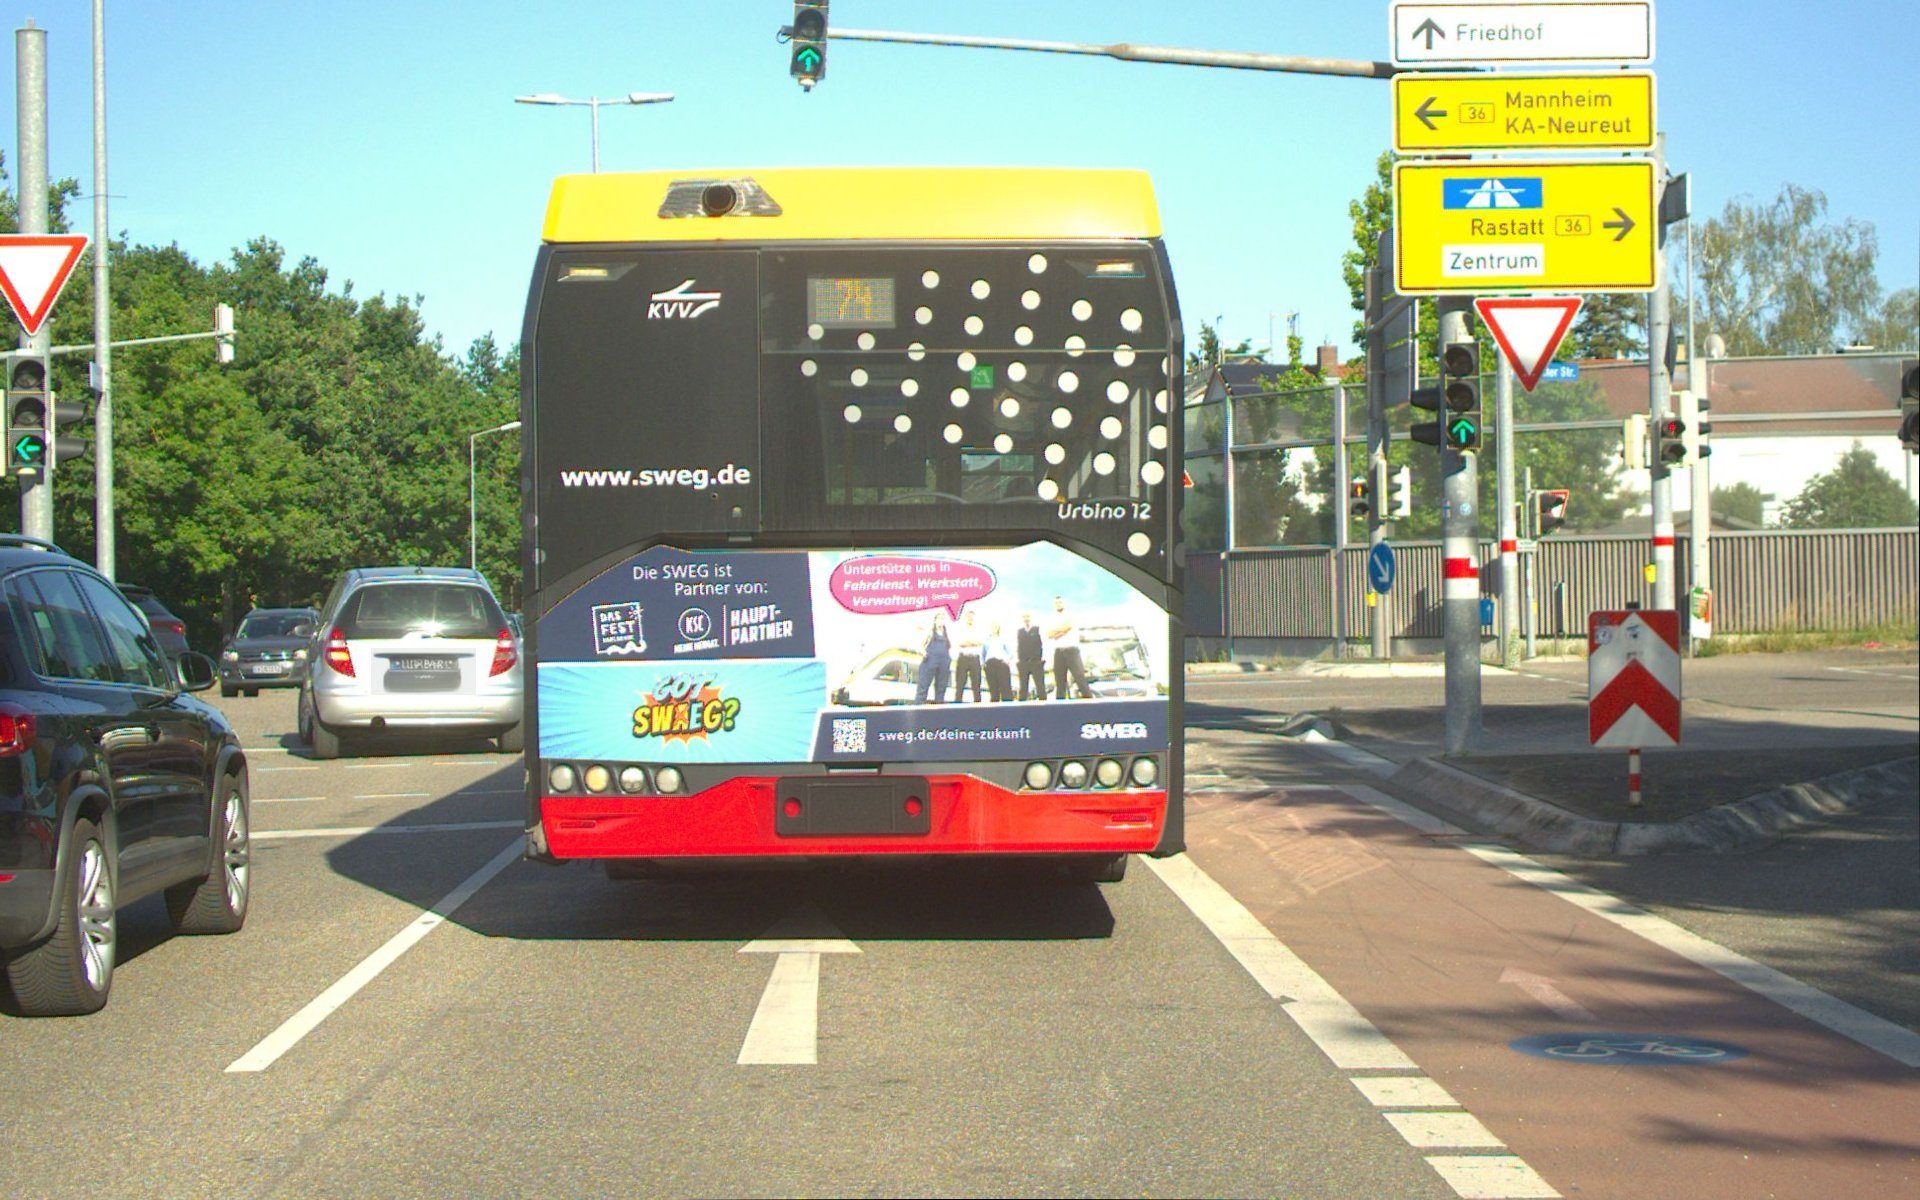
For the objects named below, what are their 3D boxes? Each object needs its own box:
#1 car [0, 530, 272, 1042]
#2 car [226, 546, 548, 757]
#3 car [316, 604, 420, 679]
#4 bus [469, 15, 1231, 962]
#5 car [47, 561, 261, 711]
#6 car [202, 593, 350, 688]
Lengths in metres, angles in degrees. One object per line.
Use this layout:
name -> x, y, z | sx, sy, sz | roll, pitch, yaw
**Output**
car -> -3.879, 0.582, 12.882 | 1.827, 1.622, 4.000 | -1, 0, -1
car -> -5.091, 0.378, 30.062 | 2.040, 1.610, 4.419 | -2, 2, -19
car -> -12.190, 0.844, 70.949 | 1.645, 1.478, 3.713 | -1, 0, -3
bus -> -0.654, -0.467, 18.846 | 2.757, 3.446, 12.399 | 1, 1, -2
car -> -9.392, 0.377, 39.808 | 2.040, 1.611, 4.419 | -1, 1, -18
car -> -12.585, 0.743, 63.475 | 1.993, 1.638, 4.530 | -1, 0, -3
